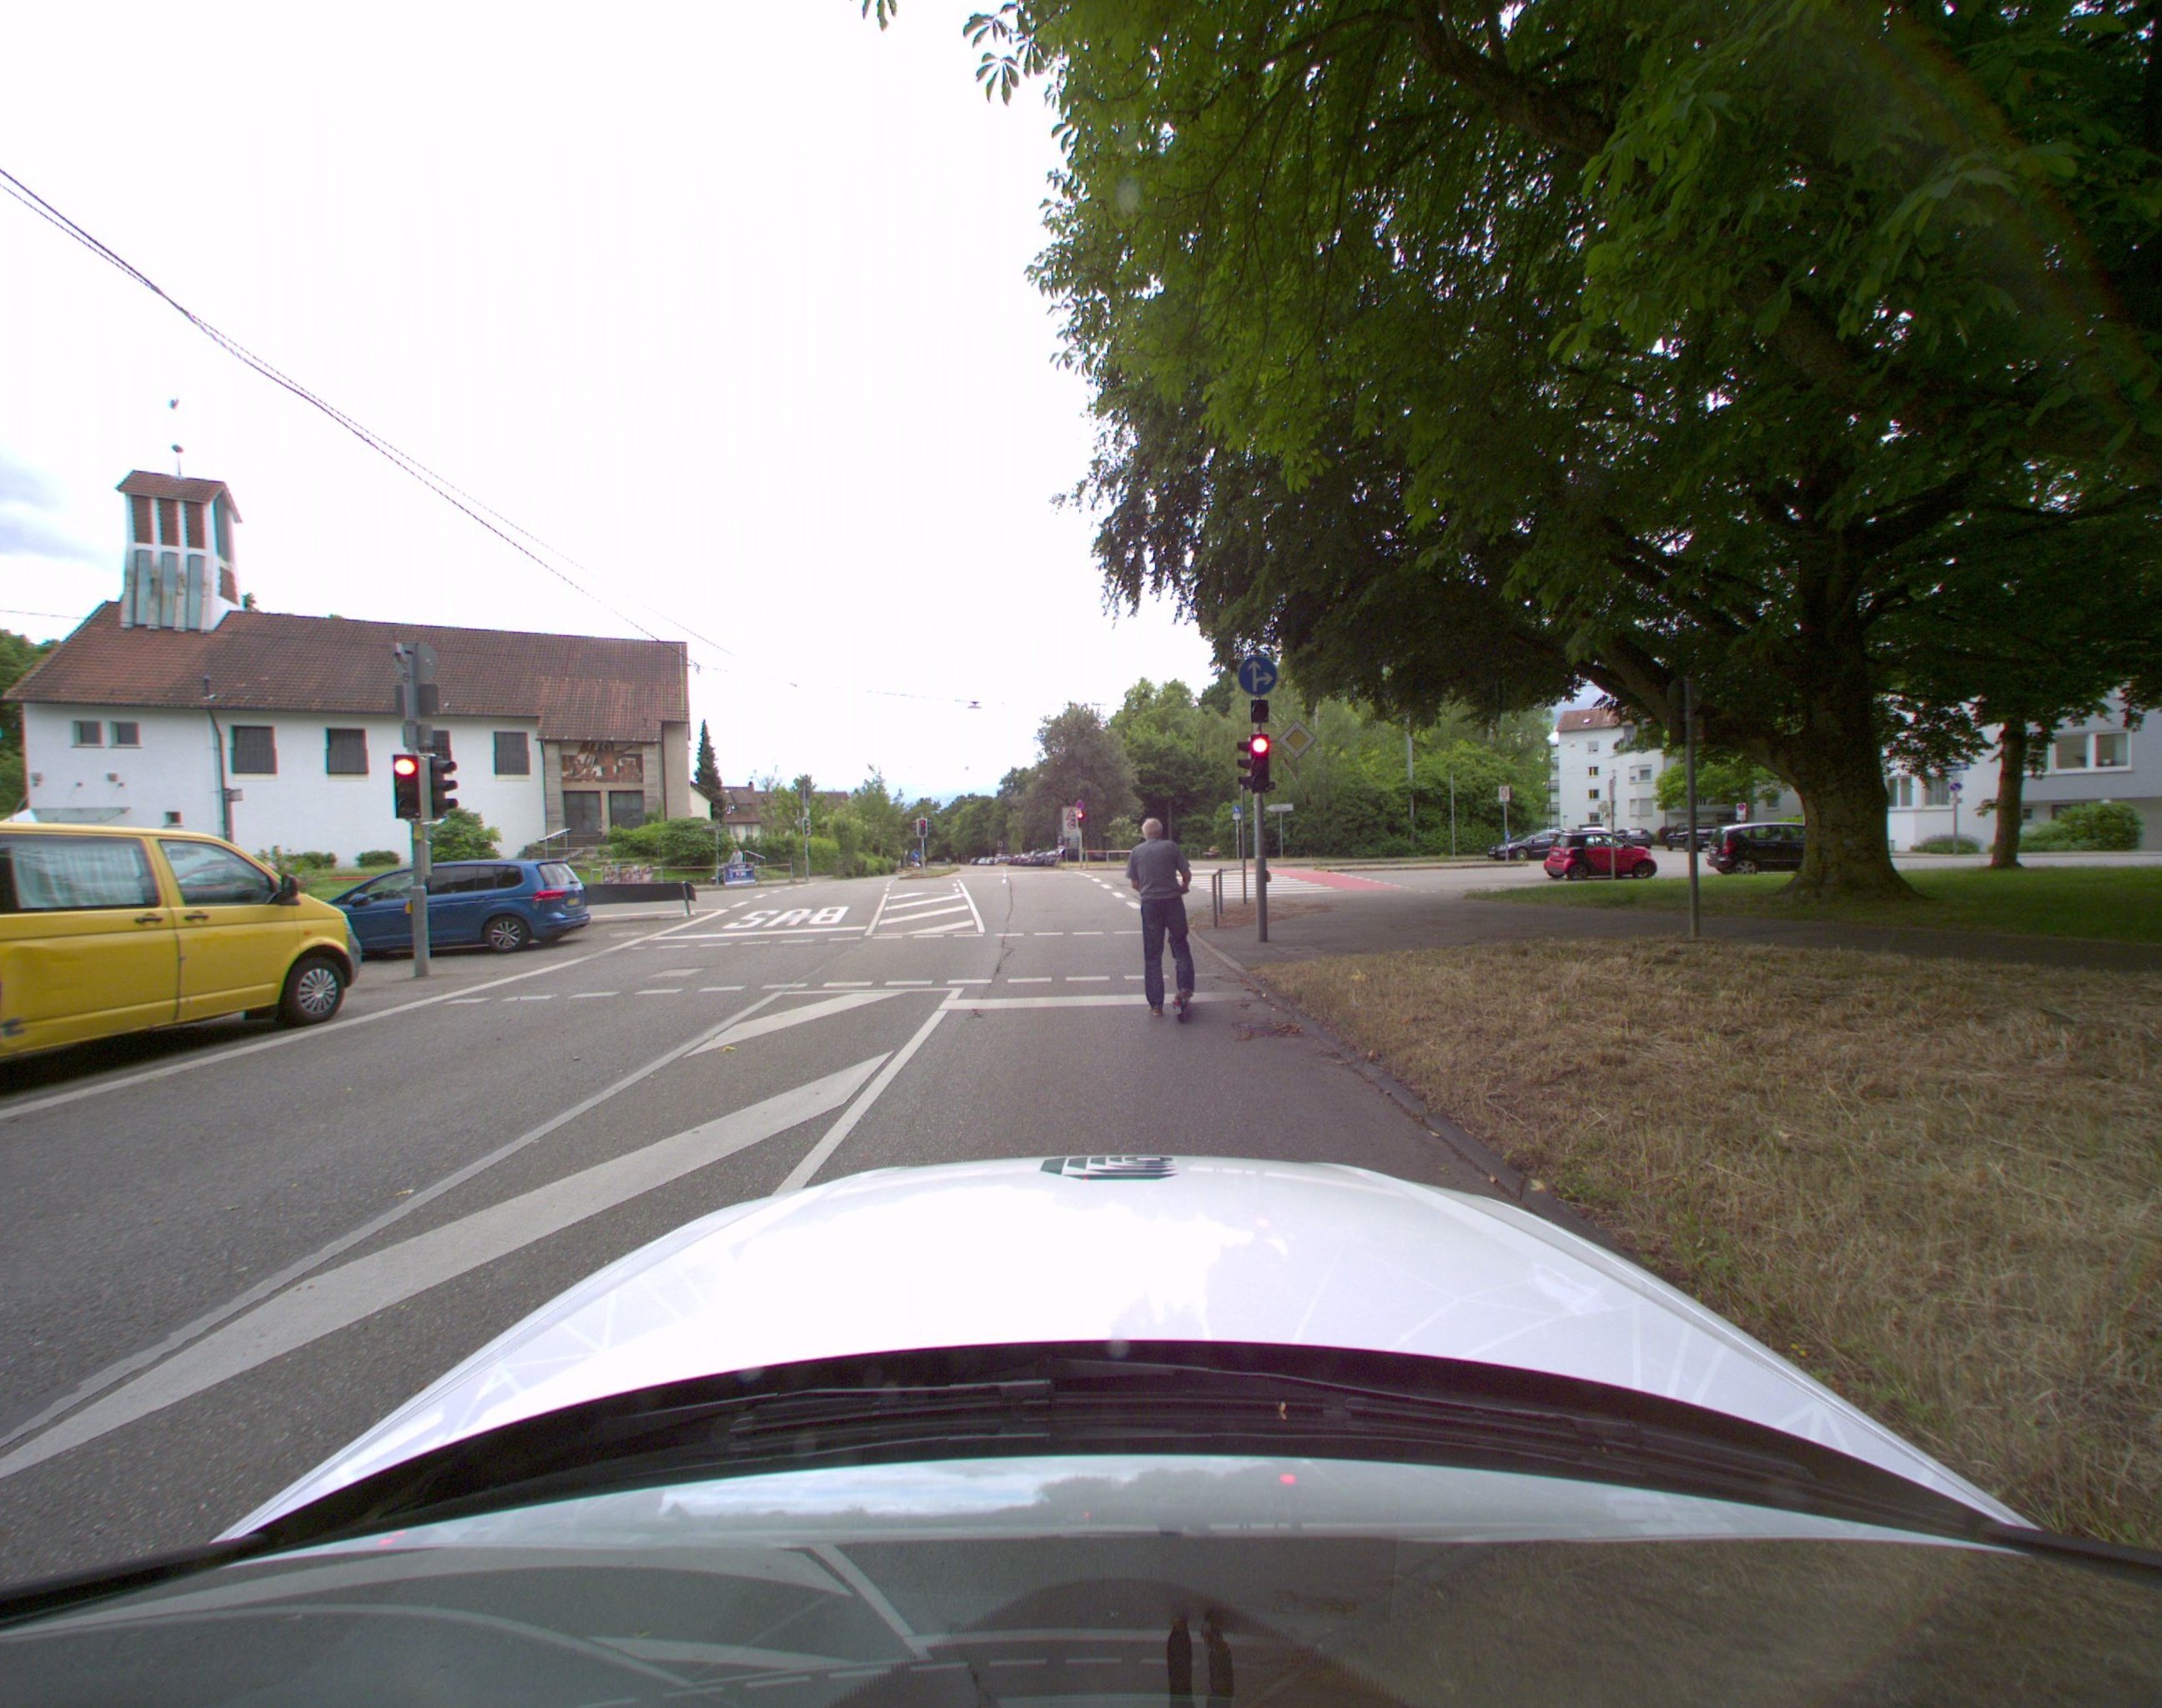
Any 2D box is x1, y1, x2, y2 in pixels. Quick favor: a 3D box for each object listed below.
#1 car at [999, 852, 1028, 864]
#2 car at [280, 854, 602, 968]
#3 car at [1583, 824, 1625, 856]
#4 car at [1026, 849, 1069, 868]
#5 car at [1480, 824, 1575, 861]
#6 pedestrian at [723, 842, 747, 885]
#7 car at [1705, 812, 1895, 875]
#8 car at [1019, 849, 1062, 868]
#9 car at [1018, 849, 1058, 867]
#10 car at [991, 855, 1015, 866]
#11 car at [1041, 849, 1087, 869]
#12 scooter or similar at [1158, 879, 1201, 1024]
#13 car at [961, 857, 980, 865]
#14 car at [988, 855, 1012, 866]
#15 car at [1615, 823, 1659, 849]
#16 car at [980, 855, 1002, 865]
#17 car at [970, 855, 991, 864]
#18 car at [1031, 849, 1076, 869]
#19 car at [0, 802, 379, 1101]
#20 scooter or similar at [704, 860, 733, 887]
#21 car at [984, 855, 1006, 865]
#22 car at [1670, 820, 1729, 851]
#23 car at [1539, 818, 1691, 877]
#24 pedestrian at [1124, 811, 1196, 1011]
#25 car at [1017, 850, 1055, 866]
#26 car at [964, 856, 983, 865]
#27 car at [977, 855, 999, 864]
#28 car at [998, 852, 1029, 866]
[{"bbox_3d":[-10.129,0.624,122.352,3.856,1.610,1.716,-3,1,-21],"label":"car"},{"bbox_3d":[-11.064,0.919,14.423,3.992,1.610,1.810,-3,0,-14],"label":"car"},{"bbox_3d":[28.785,-0.788,44.893,1.706,1.610,3.878,-3,1,30],"label":"car"},{"bbox_3d":[-3.280,0.468,79.565,3.856,1.610,1.716,-3,1,-21],"label":"car"},{"bbox_3d":[21.110,-0.559,38.601,3.498,1.530,1.732,-3,0,8],"label":"car"},{"bbox_3d":[-15.396,0.431,36.211,0.570,1.862,0.888,-2,0,3],"label":"pedestrian"},{"bbox_3d":[20.831,-0.294,23.800,3.805,1.610,1.739,-3,1,27],"label":"car"},{"bbox_3d":[-4.051,0.443,81.620,3.856,1.610,1.716,-3,1,-21],"label":"car"},{"bbox_3d":[-4.603,0.420,86.951,3.856,1.610,1.716,-3,1,-21],"label":"car"},{"bbox_3d":[-13.395,1.122,139.637,3.856,1.610,1.716,-3,1,-21],"label":"car"},{"bbox_3d":[-1.583,0.431,75.009,3.854,1.610,1.717,-3,0,-19],"label":"car"},{"bbox_3d":[0.919,0.845,7.492,0.280,1.178,1.180,-2,0,10],"label":"scooter or similar"},{"bbox_3d":[-24.239,1.521,178.804,3.856,1.610,1.716,-3,1,-21],"label":"car"},{"bbox_3d":[-14.335,1.130,143.337,3.856,1.610,1.716,-3,1,-21],"label":"car"},{"bbox_3d":[38.953,-1.277,57.138,1.707,1.610,3.875,-3,1,22],"label":"car"},{"bbox_3d":[-17.330,1.120,156.857,3.856,1.610,1.716,-3,1,-21],"label":"car"},{"bbox_3d":[-20.506,1.138,166.577,3.856,1.610,1.716,-3,1,-21],"label":"car"},{"bbox_3d":[-2.593,0.458,77.005,3.857,1.610,1.715,-3,1,-22],"label":"car"},{"bbox_3d":[-8.299,0.687,6.338,1.880,2.013,4.558,-2,0,-5],"label":"car"},{"bbox_3d":[-15.704,0.836,35.294,0.572,1.081,1.115,-2,0,13],"label":"scooter or similar"},{"bbox_3d":[-16.352,1.158,154.699,3.856,1.610,1.716,-3,1,-21],"label":"car"},{"bbox_3d":[35.567,-1.068,46.927,1.707,1.610,3.875,-3,1,22],"label":"car"},{"bbox_3d":[16.525,-0.206,25.358,3.499,1.610,1.732,-3,0,7],"label":"car"},{"bbox_3d":[0.755,0.525,7.673,0.569,1.813,0.421,-2,0,10],"label":"pedestrian"},{"bbox_3d":[-4.935,0.426,89.373,3.856,1.610,1.716,-3,1,-21],"label":"car"},{"bbox_3d":[-23.325,1.430,176.443,3.856,1.610,1.716,-3,1,-21],"label":"car"},{"bbox_3d":[-18.156,1.125,159.449,3.856,1.610,1.716,-3,1,-21],"label":"car"},{"bbox_3d":[-9.055,0.673,109.348,3.856,1.610,1.716,-3,1,-21],"label":"car"}]
